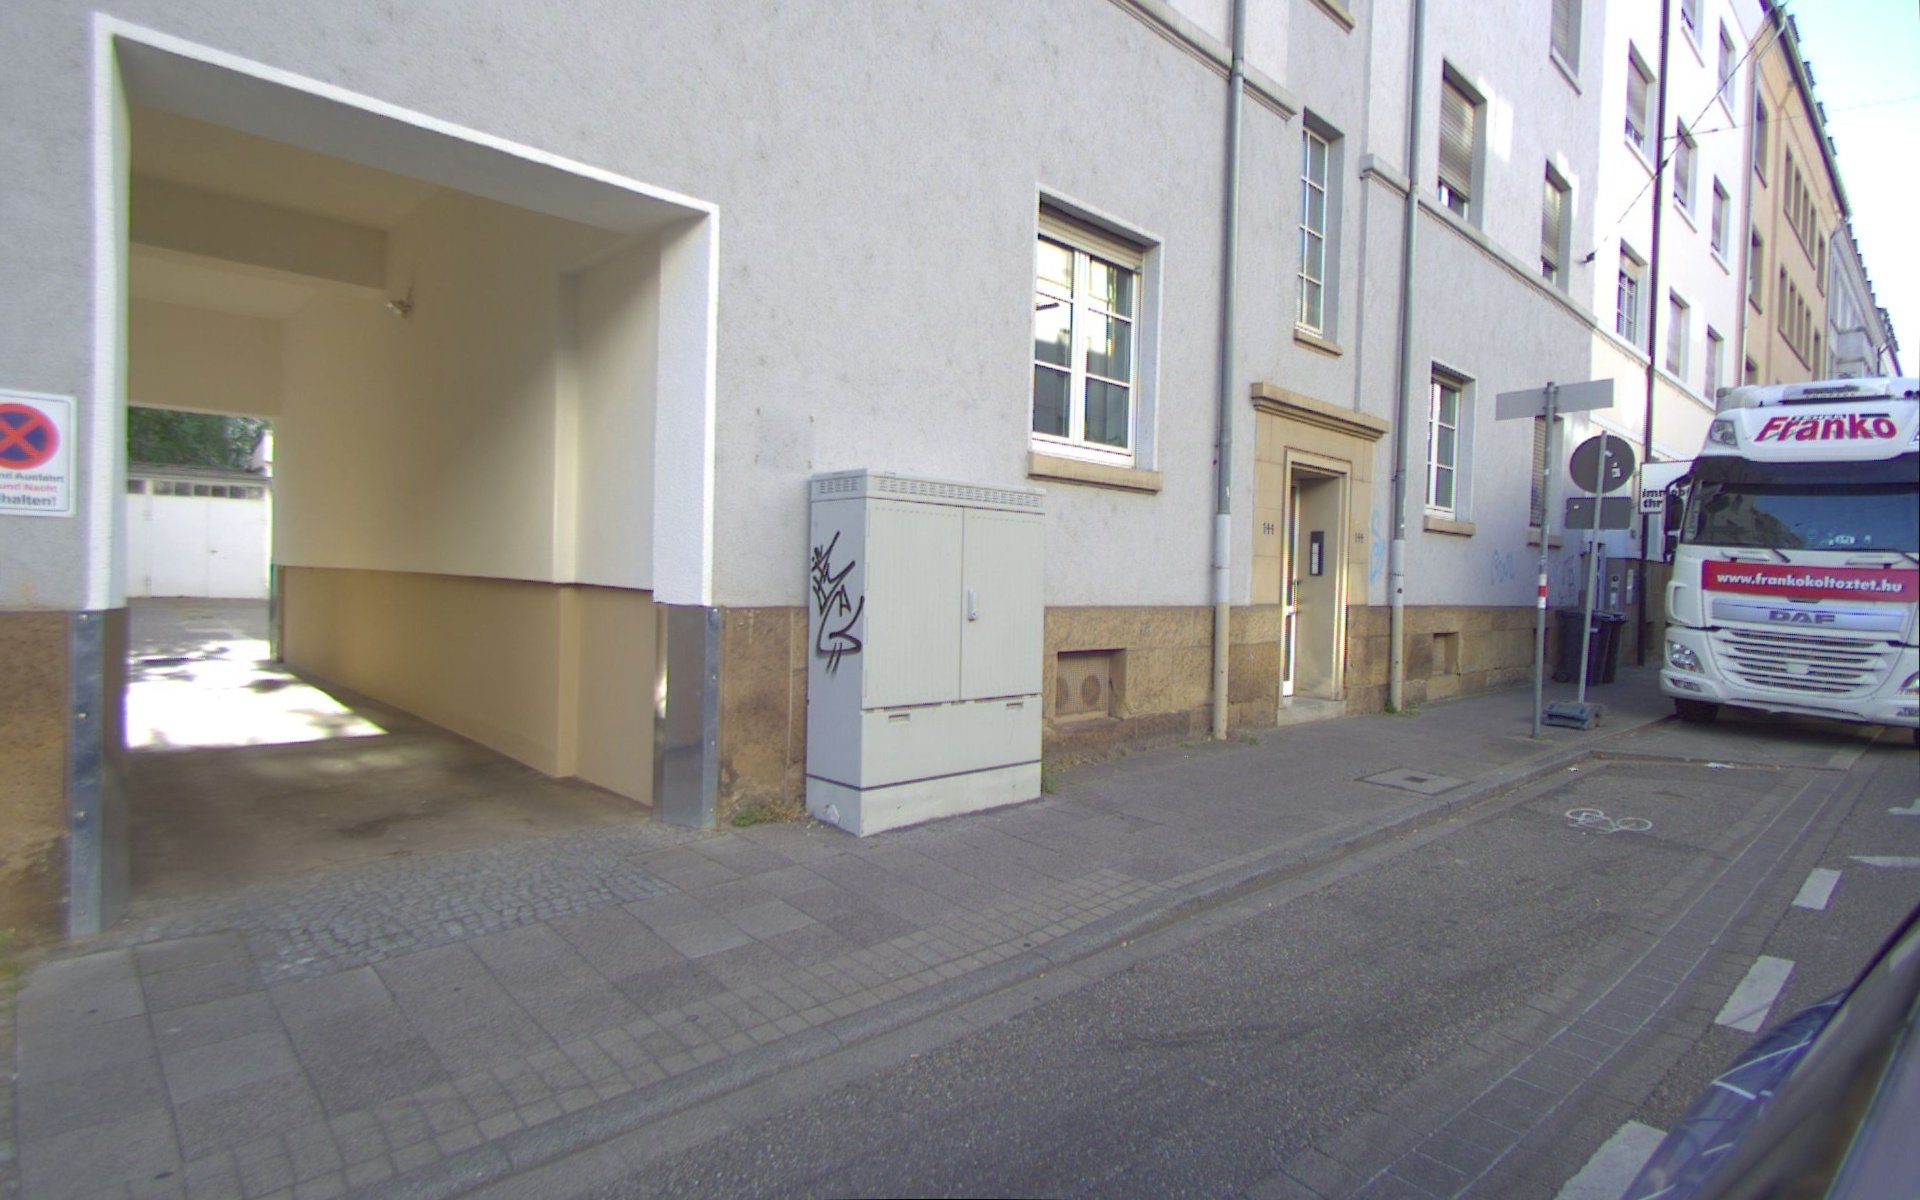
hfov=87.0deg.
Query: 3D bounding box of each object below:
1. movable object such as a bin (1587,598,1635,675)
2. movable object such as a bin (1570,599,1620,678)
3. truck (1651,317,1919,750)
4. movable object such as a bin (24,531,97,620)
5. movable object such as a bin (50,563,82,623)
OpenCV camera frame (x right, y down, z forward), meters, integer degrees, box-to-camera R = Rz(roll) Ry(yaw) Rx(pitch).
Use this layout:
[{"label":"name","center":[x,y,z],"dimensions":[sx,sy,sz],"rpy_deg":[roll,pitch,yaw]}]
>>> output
[{"label":"movable object such as a bin","center":[9.591,0.525,14.910],"dimensions":[0.511,1.106,0.488],"rpy_deg":[0,0,45]},{"label":"movable object such as a bin","center":[9.141,0.537,14.571],"dimensions":[0.511,1.106,0.488],"rpy_deg":[0,0,45]},{"label":"truck","center":[12.596,-0.608,13.828],"dimensions":[11.511,4.012,2.894],"rpy_deg":[0,0,-44]},{"label":"movable object such as a bin","center":[-14.872,-0.415,16.733],"dimensions":[0.874,1.409,0.758],"rpy_deg":[0,4,-44]},{"label":"movable object such as a bin","center":[-14.330,-0.117,16.223],"dimensions":[0.366,0.919,0.420],"rpy_deg":[0,3,-44]}]
